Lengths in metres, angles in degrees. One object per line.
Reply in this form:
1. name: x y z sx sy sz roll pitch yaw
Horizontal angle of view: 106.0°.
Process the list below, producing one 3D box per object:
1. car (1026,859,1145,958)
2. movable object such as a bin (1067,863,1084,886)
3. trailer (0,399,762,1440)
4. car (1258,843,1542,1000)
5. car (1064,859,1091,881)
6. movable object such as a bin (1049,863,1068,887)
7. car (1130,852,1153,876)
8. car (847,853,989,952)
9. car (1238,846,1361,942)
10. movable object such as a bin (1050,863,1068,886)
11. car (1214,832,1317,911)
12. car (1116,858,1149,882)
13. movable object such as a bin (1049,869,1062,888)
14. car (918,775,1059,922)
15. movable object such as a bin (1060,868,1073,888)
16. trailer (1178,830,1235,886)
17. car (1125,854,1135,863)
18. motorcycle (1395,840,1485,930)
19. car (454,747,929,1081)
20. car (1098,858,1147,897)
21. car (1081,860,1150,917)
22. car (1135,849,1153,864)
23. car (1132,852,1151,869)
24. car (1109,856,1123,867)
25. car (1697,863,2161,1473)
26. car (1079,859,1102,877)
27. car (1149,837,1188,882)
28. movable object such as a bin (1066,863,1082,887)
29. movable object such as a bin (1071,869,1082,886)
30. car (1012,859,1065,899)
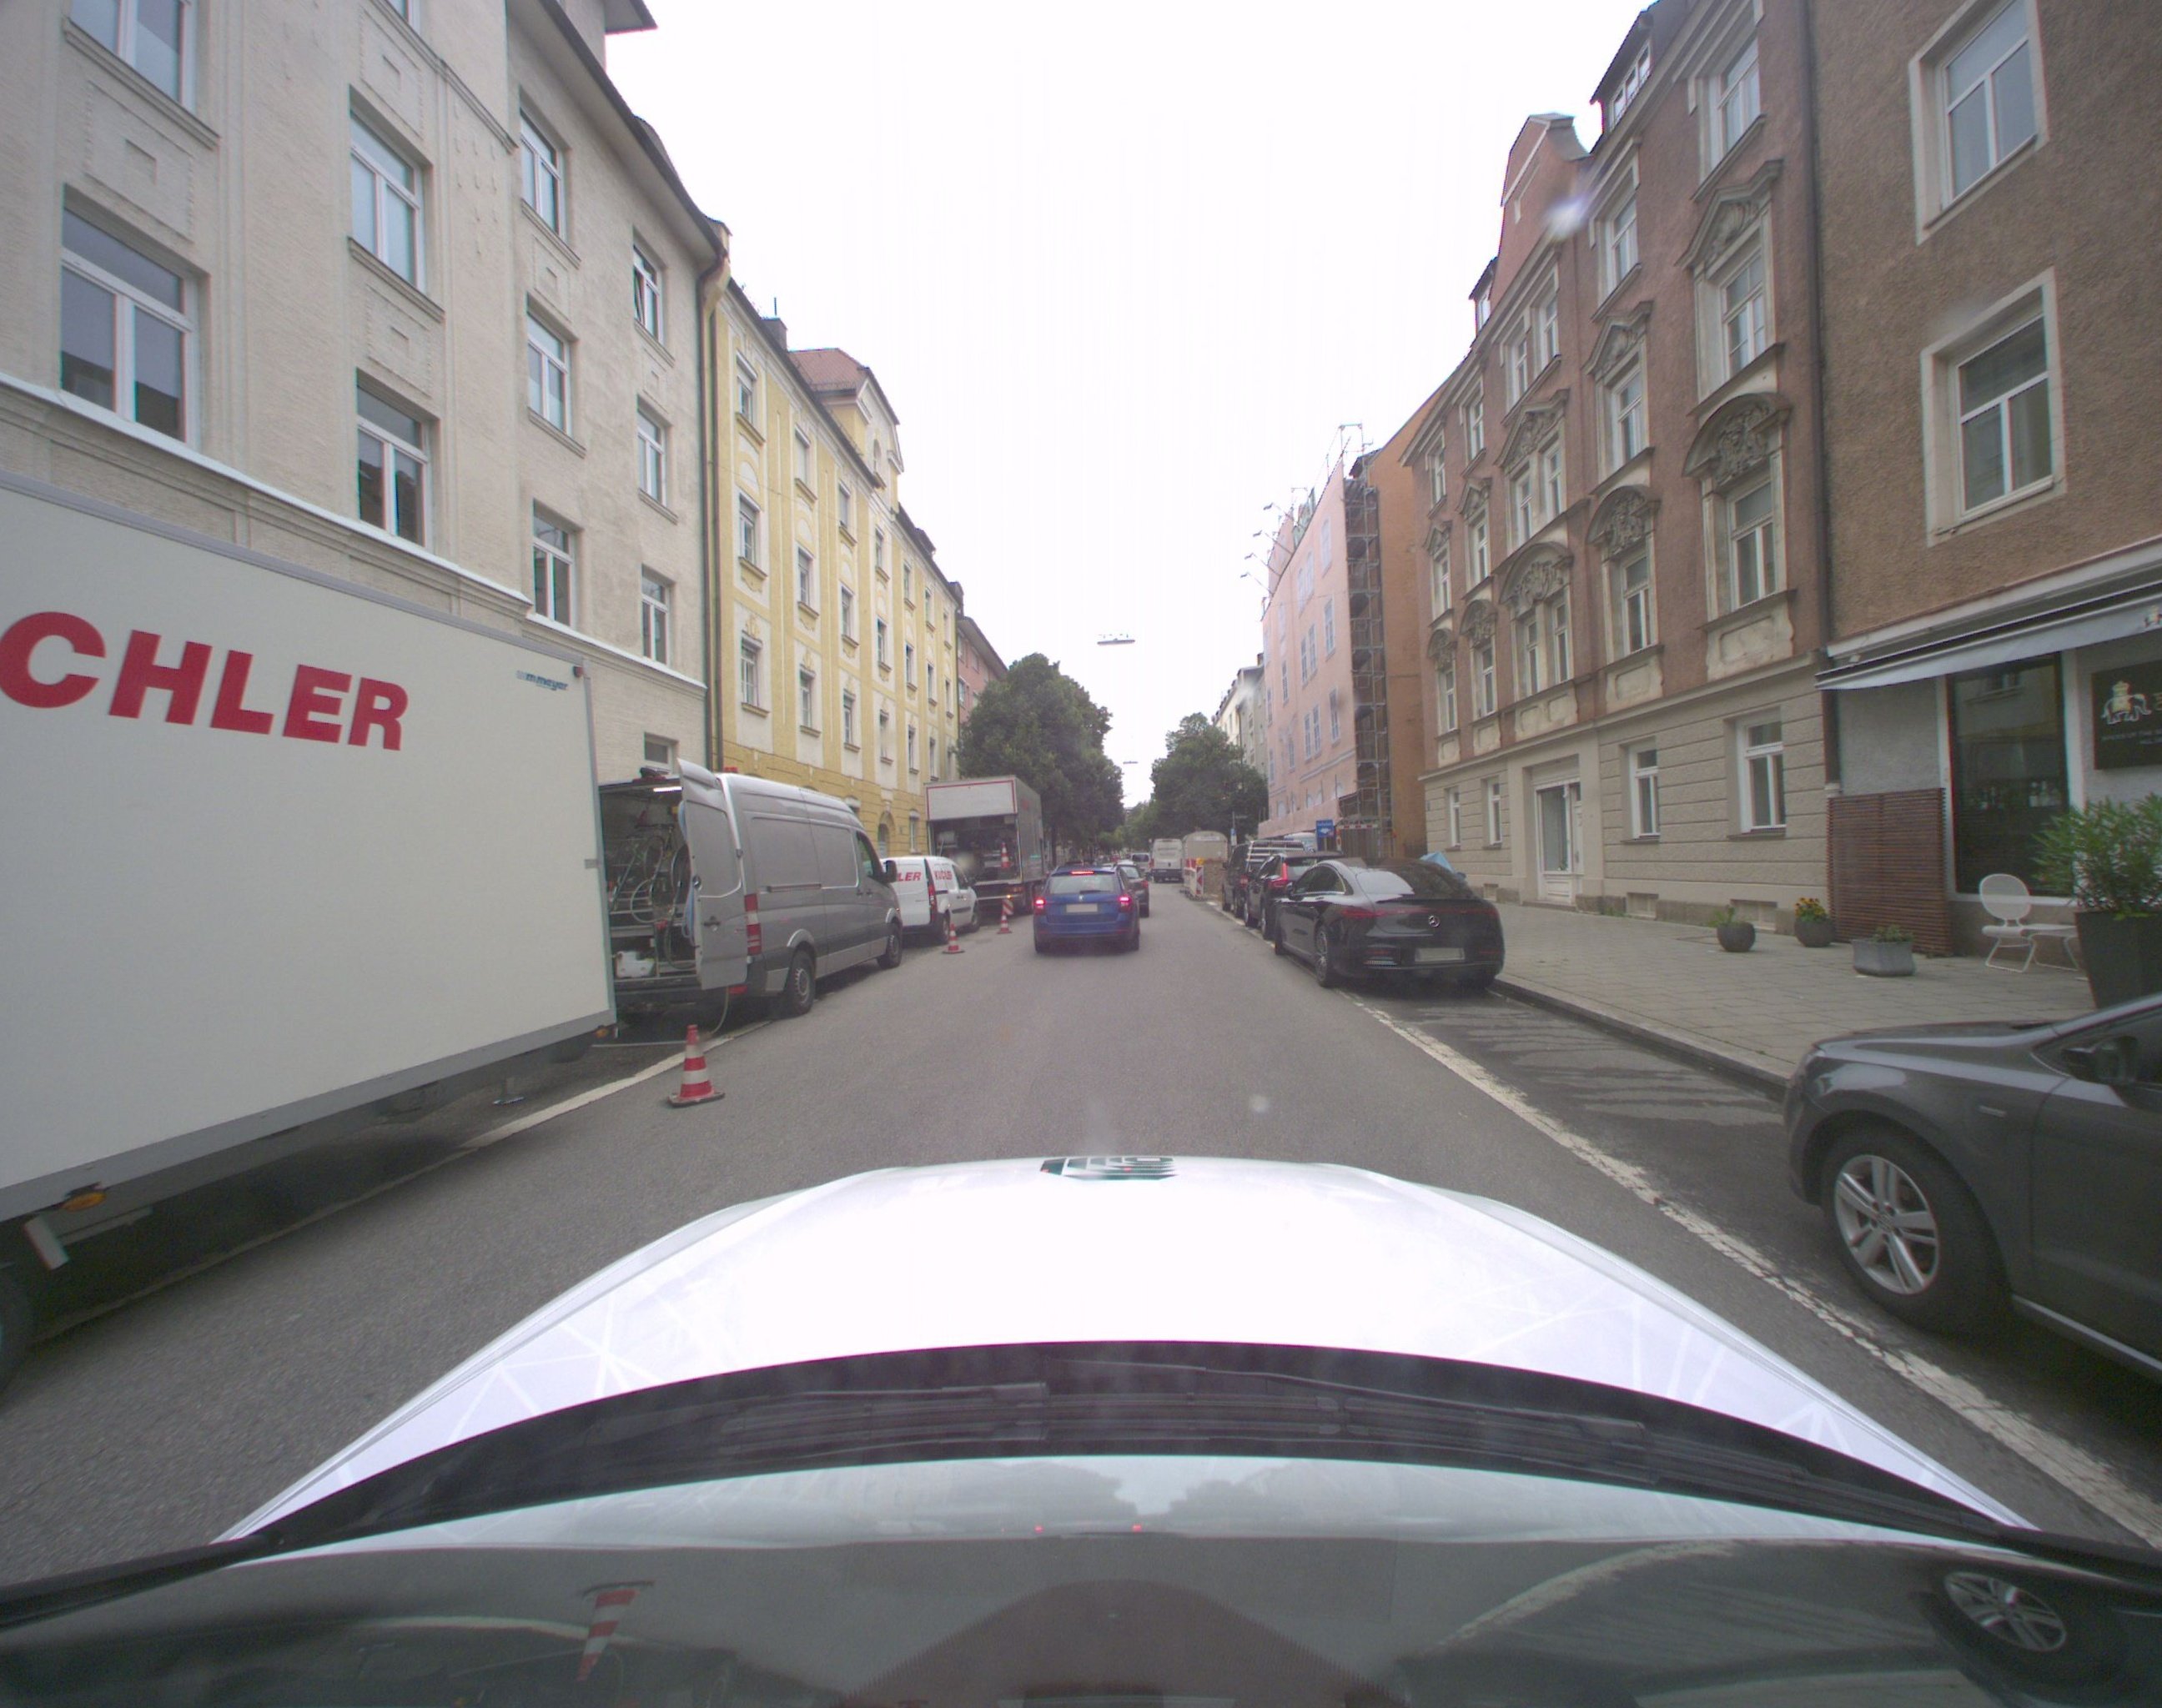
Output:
1. car: 0.219 0.868 14.781 1.781 1.460 4.319 -2 -1 4
2. movable object such as a bin: -0.358 1.318 51.986 1.017 1.376 1.103 -4 0 0
3. trailer: -4.438 0.252 2.751 2.789 2.969 7.613 -5 0 6
4. car: 3.842 0.705 11.085 1.923 1.553 5.641 -1 0 3
5. car: -0.216 1.153 58.718 1.805 1.478 4.002 -1 0 2
6. movable object such as a bin: -1.421 1.298 50.860 1.078 1.376 1.083 -4 0 0
7. car: 5.078 0.809 68.200 1.859 1.870 4.352 -1 0 4
8. car: -3.344 0.945 17.644 1.754 1.779 4.332 -4 -1 5
9. car: 4.290 0.736 16.648 1.685 1.676 4.413 1 -1 5
10. movable object such as a bin: -1.414 1.331 51.962 1.054 1.376 1.095 -4 0 0
11. car: 4.927 0.552 22.459 2.072 1.921 5.146 -1 -3 5
12. car: 3.176 0.958 49.631 1.859 1.348 4.353 -1 0 4
13. movable object such as a bin: -1.559 1.501 49.976 0.718 1.138 0.658 -4 0 0
14. car: -2.586 -0.100 25.980 2.800 3.817 8.731 -2 -1 4
15. movable object such as a bin: -0.893 1.456 49.995 0.709 1.148 0.636 -4 0 0
16. trailer: 6.763 0.246 44.585 2.491 2.840 6.908 -1 -1 4
17. car: 9.561 0.940 158.390 1.999 1.653 4.352 -1 0 4
18. motorcycle: 6.439 0.533 14.741 0.867 1.505 2.000 -2 -1 6
19. car: -3.914 0.526 10.239 2.047 2.587 6.883 -6 -1 4
20. car: 1.694 0.918 33.242 1.859 1.454 4.351 -1 0 3
21. car: 1.042 0.918 22.883 1.733 1.422 3.669 -2 -1 5
22. car: 7.223 0.244 93.100 1.998 1.653 4.353 -1 0 5
23. car: 6.041 0.659 81.137 1.859 1.653 4.352 -1 0 4
24. car: 5.400 1.105 124.970 1.999 1.653 4.352 -1 0 4
25. car: 3.294 0.737 1.307 1.565 1.394 4.186 -2 -1 3
26. car: 0.856 1.173 69.418 1.805 1.478 4.002 -1 0 2
27. car: 5.638 0.369 51.760 2.100 2.664 5.515 -1 -1 10
28. movable object such as a bin: -0.425 1.297 50.889 0.915 1.376 1.079 -4 0 0
29. movable object such as a bin: -0.273 1.456 50.022 0.545 1.020 0.636 -4 0 0
30. car: -1.905 1.113 37.627 1.776 1.628 4.190 -3 0 5
